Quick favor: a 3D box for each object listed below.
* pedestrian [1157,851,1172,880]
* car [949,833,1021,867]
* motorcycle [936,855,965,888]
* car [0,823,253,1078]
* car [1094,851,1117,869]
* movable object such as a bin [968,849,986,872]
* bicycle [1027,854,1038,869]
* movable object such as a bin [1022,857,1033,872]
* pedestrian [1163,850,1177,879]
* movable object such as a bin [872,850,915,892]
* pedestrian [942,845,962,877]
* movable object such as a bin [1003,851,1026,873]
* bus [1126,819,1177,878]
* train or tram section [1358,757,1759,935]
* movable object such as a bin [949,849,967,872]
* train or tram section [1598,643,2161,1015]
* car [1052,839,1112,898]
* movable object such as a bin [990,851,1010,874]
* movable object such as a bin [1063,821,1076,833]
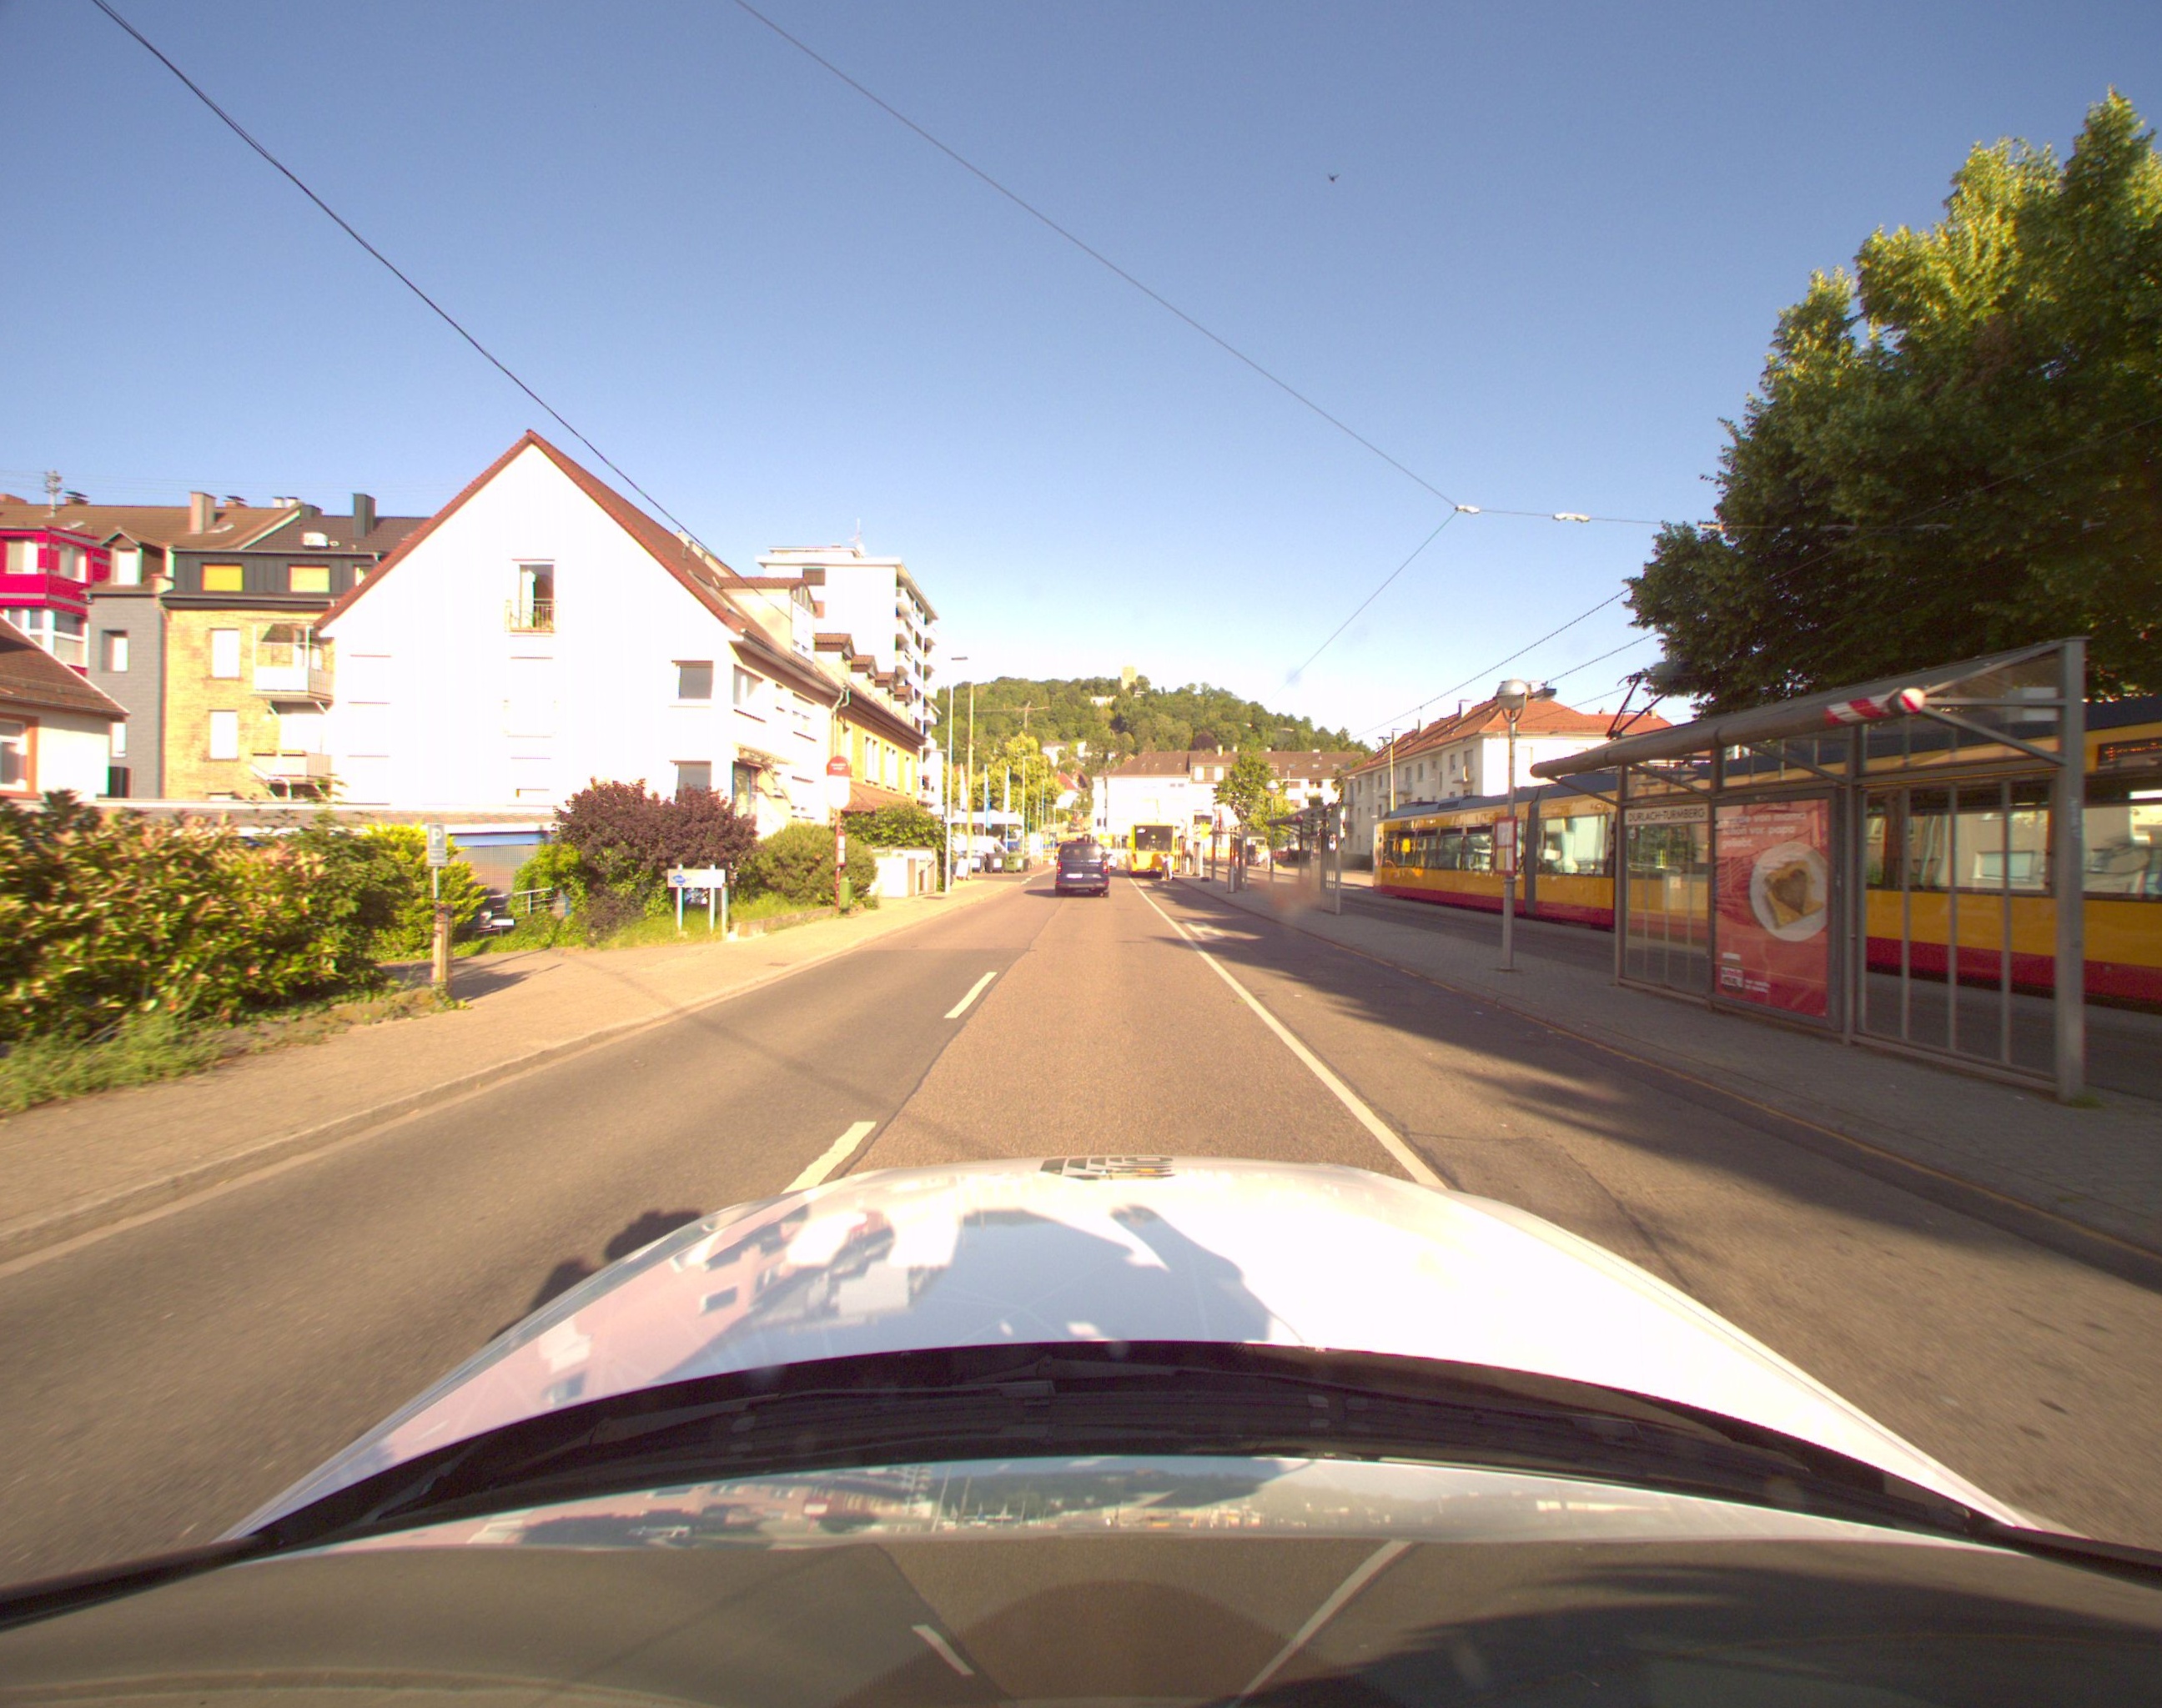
[{"bbox_3d":[4.718,0.631,46.138,0.548,1.613,0.629,0,0,-36],"label":"pedestrian"},{"bbox_3d":[-7.278,-0.287,61.866,5.072,2.469,2.094,1,0,-20],"label":"car"},{"bbox_3d":[-5.330,0.710,33.435,0.837,1.282,2.231,1,0,-1],"label":"motorcycle"},{"bbox_3d":[-8.579,0.775,5.617,1.694,1.814,3.674,-6,0,3],"label":"car"},{"bbox_3d":[2.007,0.444,67.043,1.787,1.409,4.002,1,0,2],"label":"car"},{"bbox_3d":[-7.165,0.441,56.184,1.215,1.482,0.703,0,3,-3],"label":"movable object such as a bin"},{"bbox_3d":[-3.854,0.592,64.131,0.722,1.178,1.776,0,0,-7],"label":"bicycle"},{"bbox_3d":[-3.867,0.771,59.102,0.635,1.069,0.582,1,3,14],"label":"movable object such as a bin"},{"bbox_3d":[5.018,0.587,45.719,0.548,1.613,0.544,0,0,-36],"label":"pedestrian"},{"bbox_3d":[-6.556,0.584,28.576,1.304,1.429,0.991,0,0,-3],"label":"movable object such as a bin"},{"bbox_3d":[-7.722,0.394,48.750,0.810,1.867,0.800,1,1,43],"label":"pedestrian"},{"bbox_3d":[-4.653,0.544,57.384,1.045,1.482,1.321,2,4,30],"label":"movable object such as a bin"},{"bbox_3d":[4.410,-0.403,53.214,2.678,3.416,12.024,0,1,2],"label":"bus"},{"bbox_3d":[12.219,-0.081,24.222,2.946,3.534,15.974,0,-1,2],"label":"train or tram section"},{"bbox_3d":[-8.494,0.449,56.120,1.175,1.482,0.703,0,3,-3],"label":"movable object such as a bin"},{"bbox_3d":[11.795,-0.222,9.763,2.946,3.534,13.468,0,-1,2],"label":"train or tram section"},{"bbox_3d":[0.118,0.517,31.096,2.054,2.013,5.002,-1,0,2],"label":"car"},{"bbox_3d":[-5.648,0.567,56.494,1.225,1.482,0.698,-1,4,-27],"label":"movable object such as a bin"},{"bbox_3d":[-2.603,-6.368,189.791,2.175,2.690,4.014,0,1,13],"label":"movable object such as a bin"}]
